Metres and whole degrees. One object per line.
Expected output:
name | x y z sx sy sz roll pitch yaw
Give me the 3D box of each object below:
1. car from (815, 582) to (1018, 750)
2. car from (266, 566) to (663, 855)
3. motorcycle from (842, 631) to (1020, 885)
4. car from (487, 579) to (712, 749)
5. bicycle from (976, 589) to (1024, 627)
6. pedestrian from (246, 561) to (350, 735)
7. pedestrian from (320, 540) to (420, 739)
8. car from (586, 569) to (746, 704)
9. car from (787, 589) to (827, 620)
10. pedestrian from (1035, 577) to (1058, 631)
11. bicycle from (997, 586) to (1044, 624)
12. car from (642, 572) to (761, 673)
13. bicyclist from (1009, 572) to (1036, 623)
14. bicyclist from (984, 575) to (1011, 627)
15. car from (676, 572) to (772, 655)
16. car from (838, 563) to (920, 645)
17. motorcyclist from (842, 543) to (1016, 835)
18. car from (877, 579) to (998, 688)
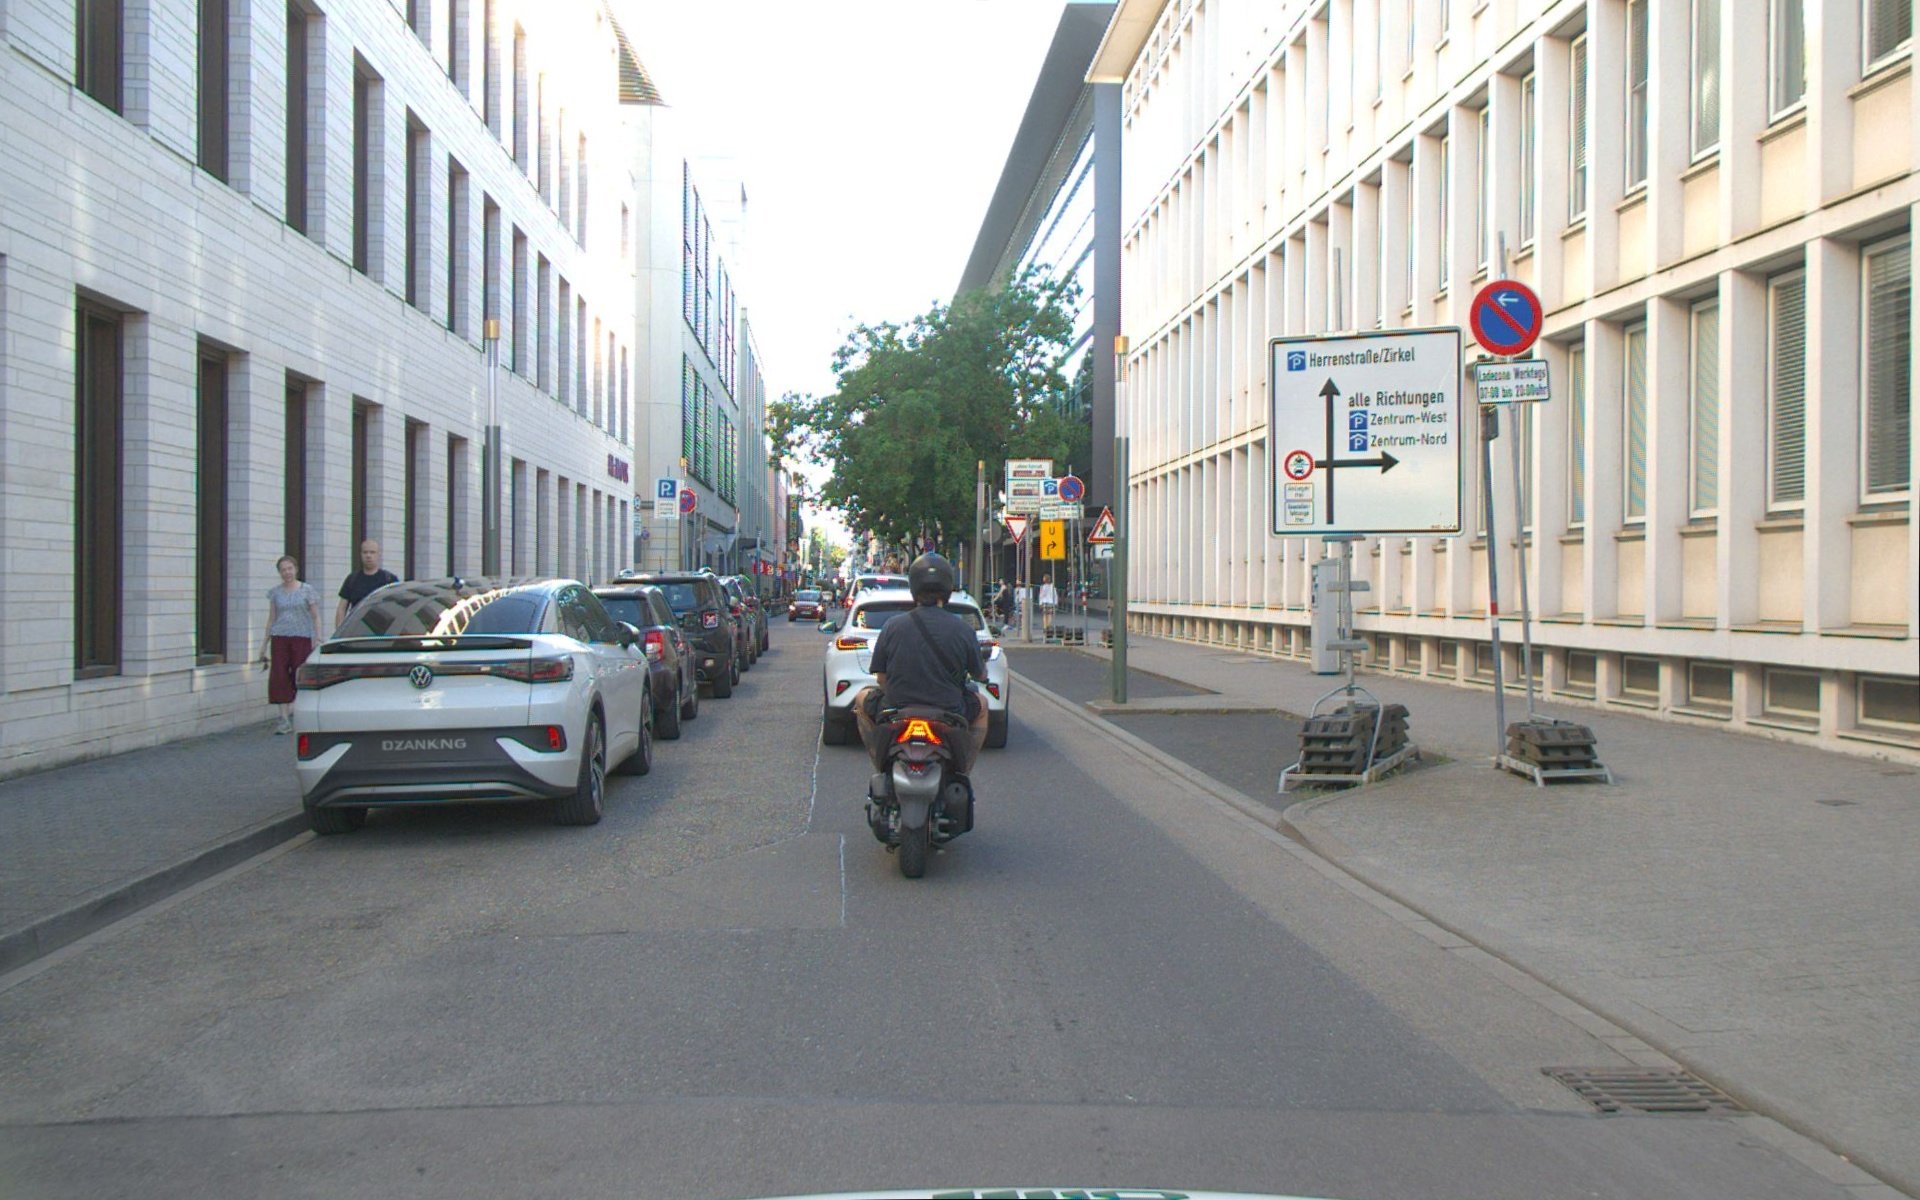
car | -0.429 0.590 17.184 1.821 1.498 3.999 2 0 -1
car | -3.268 0.616 11.794 1.775 1.634 4.264 -1 1 -4
motorcycle | -0.167 0.824 9.668 0.887 1.204 2.578 -1 0 -1
car | -3.664 0.581 17.363 1.775 1.554 3.512 -1 1 -4
bicycle | 1.343 0.275 55.776 1.530 1.271 0.552 0 0 17
pedestrian | -6.424 0.450 16.092 0.690 1.642 0.860 -1 0 -4
pedestrian | -5.539 0.358 15.560 0.690 1.817 0.726 -1 0 -4
car | -3.980 0.445 22.910 1.775 1.674 3.512 -1 1 -4
car | -7.611 0.224 82.313 1.910 1.495 3.512 -1 0 -5
pedestrian | 2.610 0.112 49.849 0.630 1.629 0.620 -1 0 -2
bicycle | 2.078 0.171 57.149 1.530 1.271 0.552 0 0 17
car | -4.531 0.356 29.372 1.741 1.634 3.512 -1 1 -4
bicyclist | 2.161 -0.089 57.152 0.731 1.736 0.737 0 0 17
bicyclist | 1.277 0.033 55.797 0.731 1.736 0.737 0 0 17
car | -5.008 0.259 35.440 1.741 1.634 3.512 -1 1 -4
car | -1.985 0.080 40.616 1.886 1.889 3.998 -1 0 -3
motorcyclist | -0.177 0.479 9.644 0.934 1.587 1.239 -1 0 -1
car | -0.436 0.470 26.193 1.739 1.577 4.104 -1 1 -3
